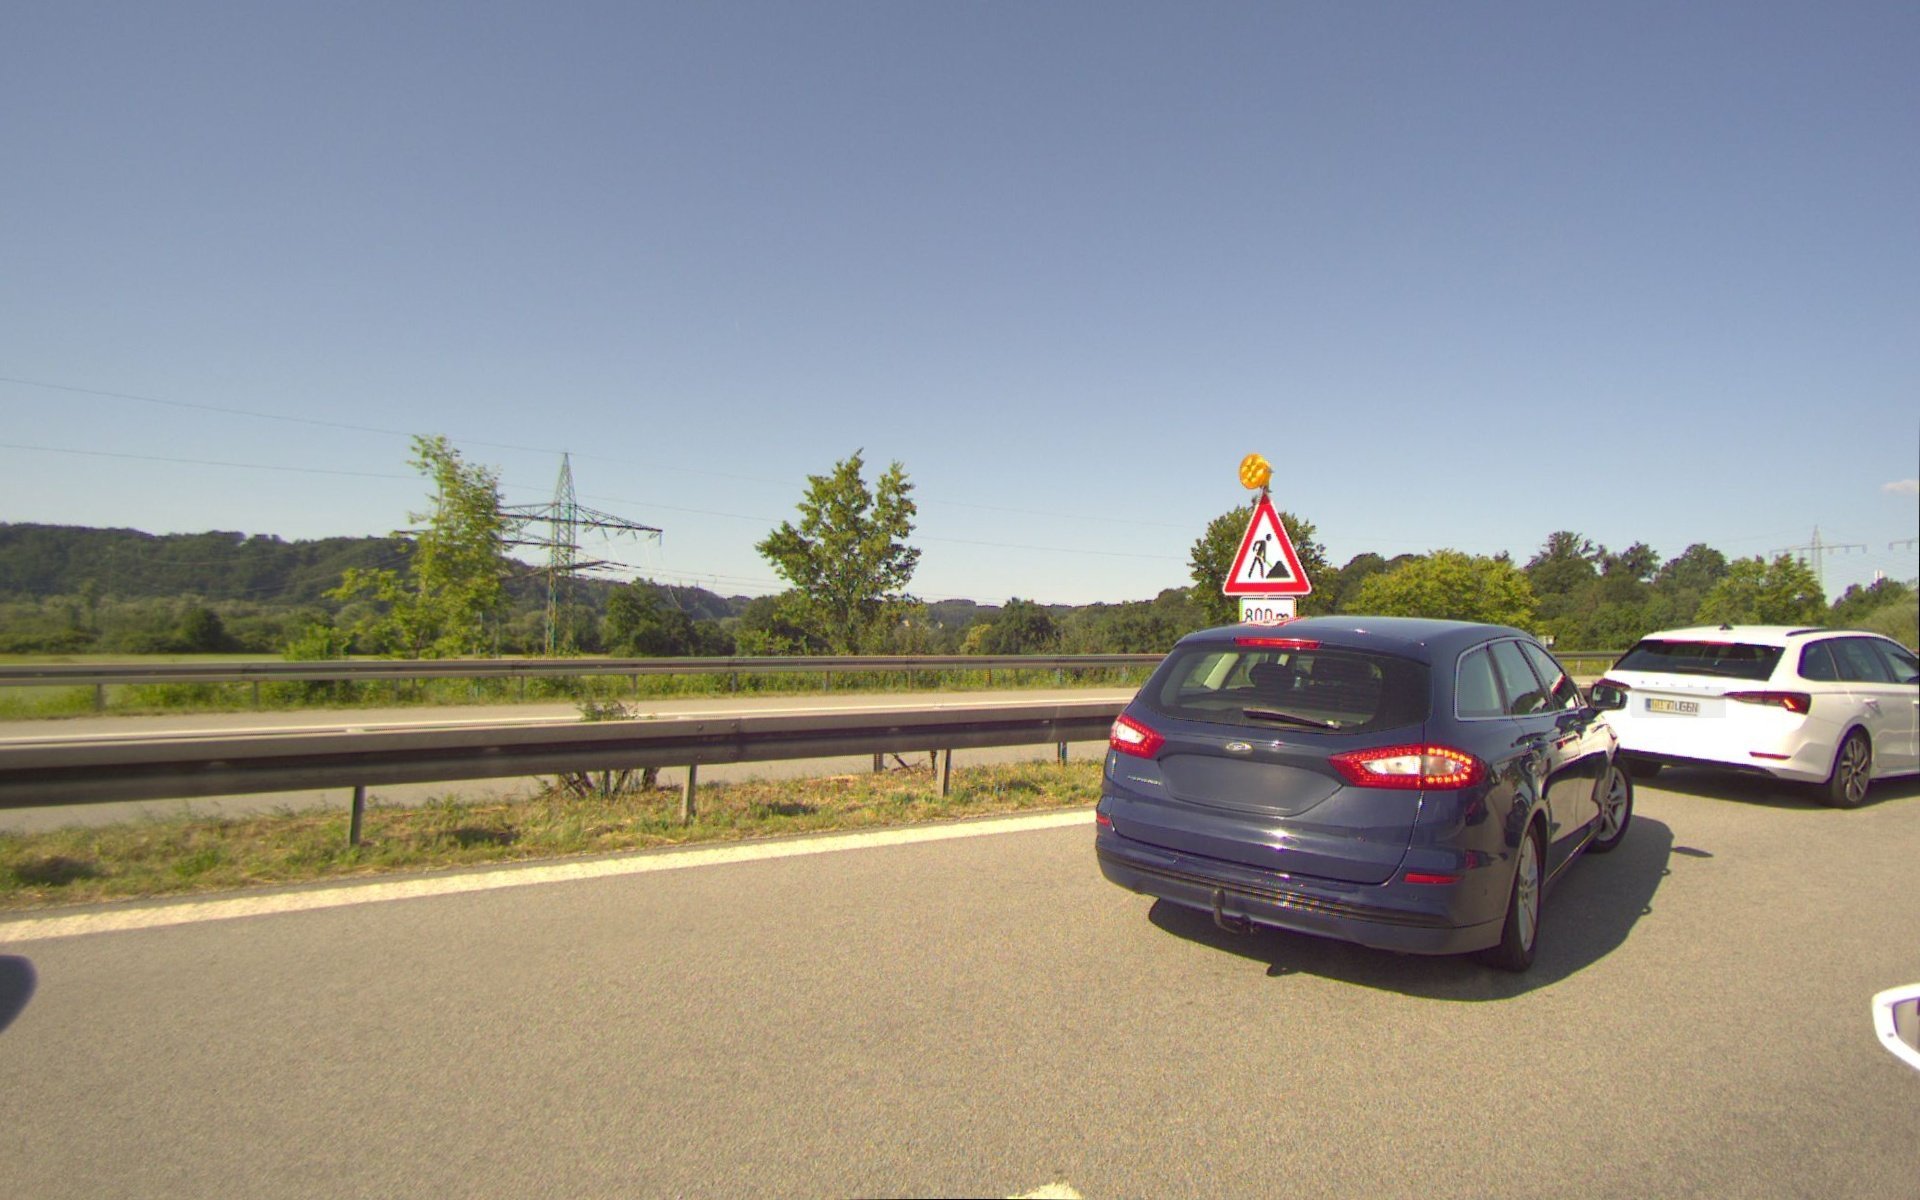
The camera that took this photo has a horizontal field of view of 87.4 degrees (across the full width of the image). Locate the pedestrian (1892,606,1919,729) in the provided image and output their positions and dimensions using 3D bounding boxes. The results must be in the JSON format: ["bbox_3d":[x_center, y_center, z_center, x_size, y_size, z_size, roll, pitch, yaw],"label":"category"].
[{"bbox_3d":[14.566,0.992,14.767,1.106,1.786,1.034,1,-1,-34],"label":"pedestrian"}]

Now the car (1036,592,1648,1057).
[{"bbox_3d":[2.454,0.804,5.568,1.767,1.513,4.471,-1,-2,41],"label":"car"}]

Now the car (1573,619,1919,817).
[{"bbox_3d":[7.773,0.953,9.384,4.159,1.461,1.687,1,0,-29],"label":"car"}]
